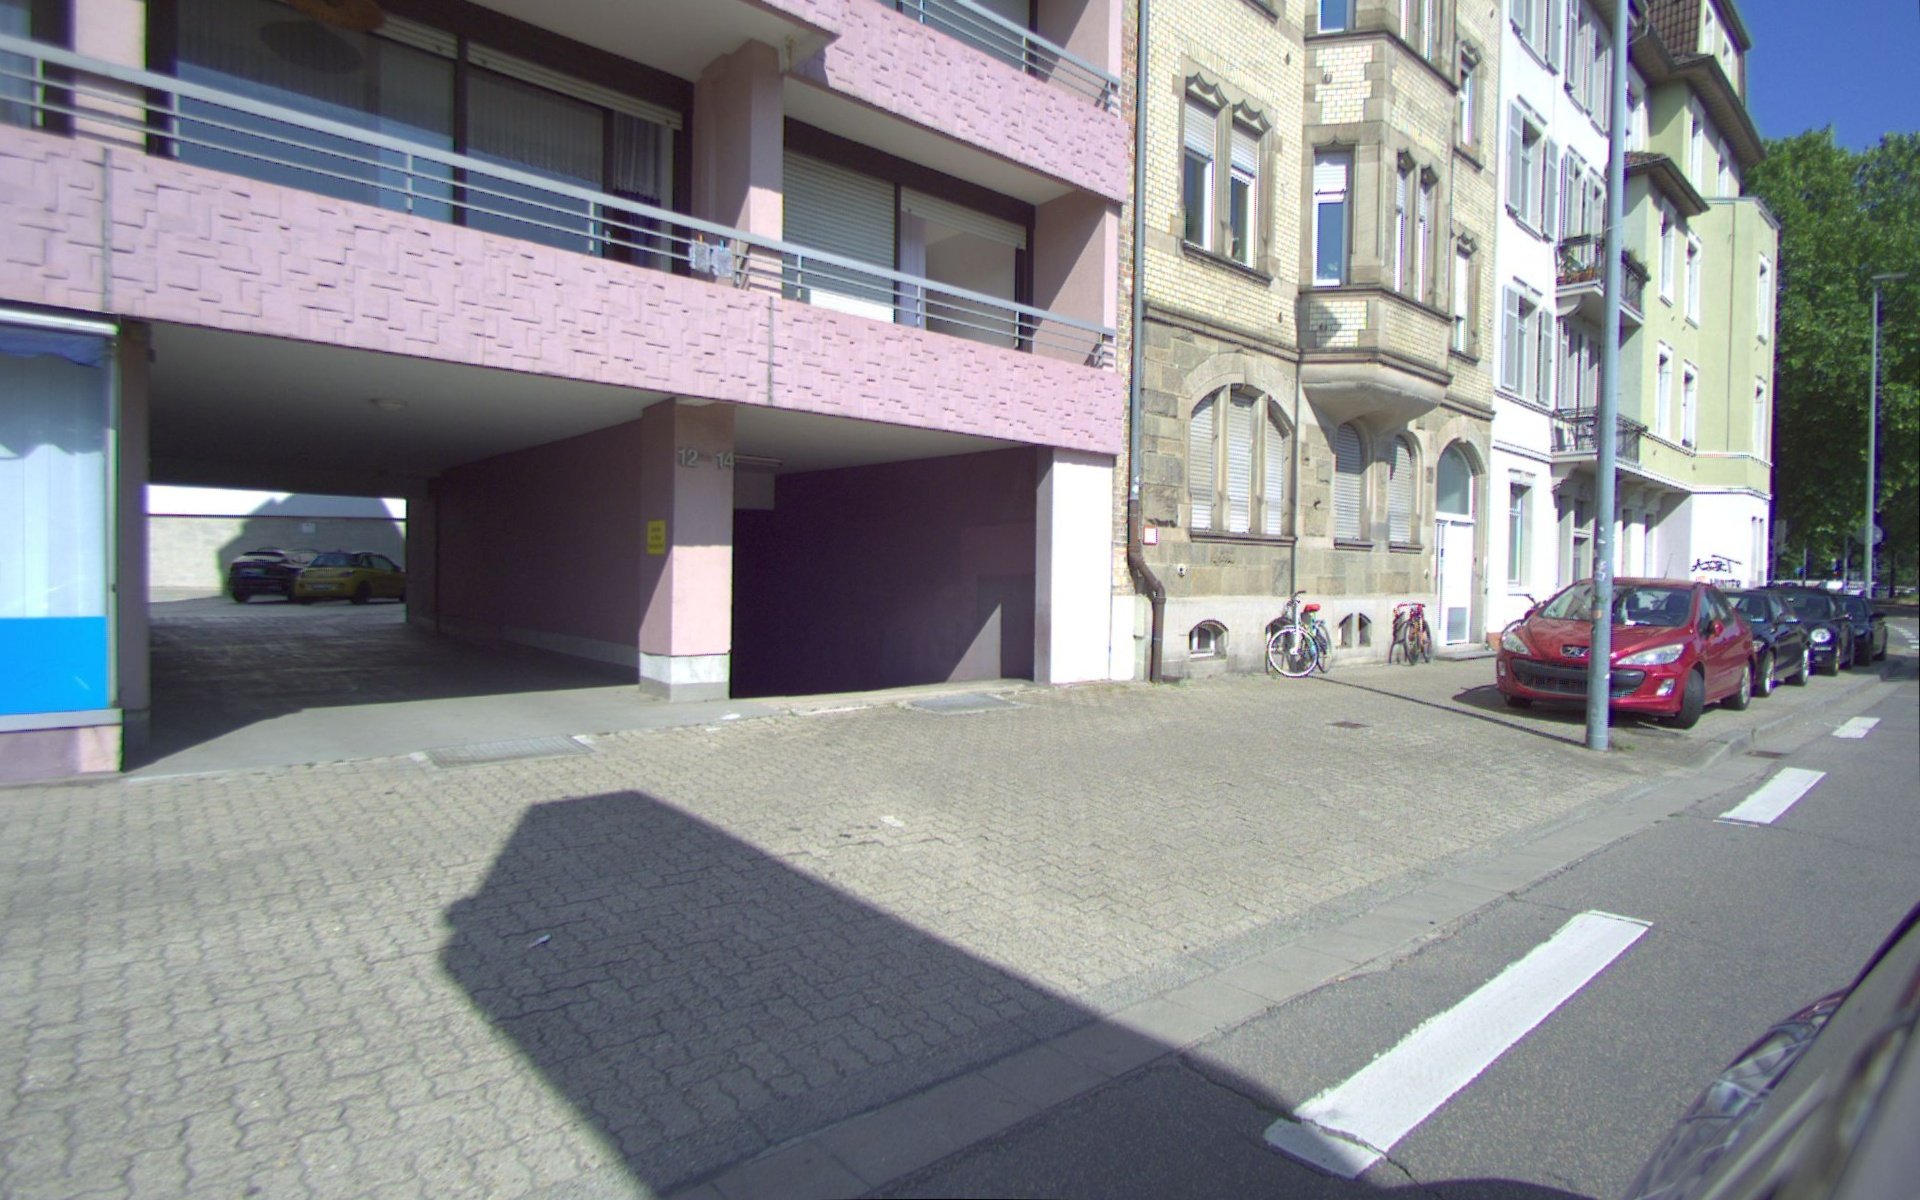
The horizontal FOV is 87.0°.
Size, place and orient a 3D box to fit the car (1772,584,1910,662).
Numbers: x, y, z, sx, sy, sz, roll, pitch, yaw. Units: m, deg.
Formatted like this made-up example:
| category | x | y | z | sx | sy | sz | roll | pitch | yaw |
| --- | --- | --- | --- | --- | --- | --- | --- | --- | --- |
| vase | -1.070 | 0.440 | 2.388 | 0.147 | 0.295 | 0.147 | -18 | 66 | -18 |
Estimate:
| category | x | y | z | sx | sy | sz | roll | pitch | yaw |
| --- | --- | --- | --- | --- | --- | --- | --- | --- | --- |
| car | 18.716 | 0.411 | 21.448 | 4.012 | 1.433 | 1.743 | -1 | 3 | -43 |

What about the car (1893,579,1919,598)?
| category | x | y | z | sx | sy | sz | roll | pitch | yaw |
| --- | --- | --- | --- | --- | --- | --- | --- | --- | --- |
| car | 99.161 | -1.167 | 105.397 | 1.983 | 1.914 | 3.959 | 2 | 2 | 29 |

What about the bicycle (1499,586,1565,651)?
| category | x | y | z | sx | sy | sz | roll | pitch | yaw |
| --- | --- | --- | --- | --- | --- | --- | --- | --- | --- |
| bicycle | 10.950 | 0.332 | 19.361 | 0.655 | 1.160 | 1.600 | 5 | 3 | 45 |

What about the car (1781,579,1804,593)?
| category | x | y | z | sx | sy | sz | roll | pitch | yaw |
| --- | --- | --- | --- | --- | --- | --- | --- | --- | --- |
| car | 110.044 | -1.868 | 133.824 | 1.620 | 1.834 | 3.556 | 2 | 2 | 29 |

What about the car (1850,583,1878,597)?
| category | x | y | z | sx | sy | sz | roll | pitch | yaw |
| --- | --- | --- | --- | --- | --- | --- | --- | --- | --- |
| car | 105.227 | -1.198 | 117.869 | 1.620 | 1.514 | 3.643 | 2 | 2 | 29 |

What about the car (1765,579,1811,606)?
| category | x | y | z | sx | sy | sz | roll | pitch | yaw |
| --- | --- | --- | --- | --- | --- | --- | --- | --- | --- |
| car | 50.453 | -0.470 | 61.721 | 1.781 | 1.531 | 3.846 | 2 | 2 | 34 |

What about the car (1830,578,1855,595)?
| category | x | y | z | sx | sy | sz | roll | pitch | yaw |
| --- | --- | --- | --- | --- | --- | --- | --- | --- | --- |
| car | 108.245 | -1.686 | 124.161 | 1.621 | 1.938 | 3.643 | 2 | 2 | 29 |

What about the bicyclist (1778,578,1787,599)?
| category | x | y | z | sx | sy | sz | roll | pitch | yaw |
| --- | --- | --- | --- | --- | --- | --- | --- | --- | --- |
| bicyclist | 66.064 | -0.946 | 81.287 | 0.539 | 1.653 | 0.581 | 3 | 2 | 41 |

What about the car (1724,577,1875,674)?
| category | x | y | z | sx | sy | sz | roll | pitch | yaw |
| --- | --- | --- | --- | --- | --- | --- | --- | --- | --- |
| car | 15.383 | 0.387 | 18.478 | 3.944 | 1.519 | 1.644 | -1 | 3 | -44 |

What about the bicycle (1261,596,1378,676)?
| category | x | y | z | sx | sy | sz | roll | pitch | yaw |
| --- | --- | --- | --- | --- | --- | --- | --- | --- | --- |
| bicycle | 4.896 | 0.454 | 13.735 | 1.831 | 0.982 | 0.651 | 0 | 2 | -41 |

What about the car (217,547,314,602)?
| category | x | y | z | sx | sy | sz | roll | pitch | yaw |
| --- | --- | --- | --- | --- | --- | --- | --- | --- | --- |
| car | -19.699 | -0.756 | 28.853 | 1.737 | 1.444 | 3.876 | 0 | 2 | -26 |

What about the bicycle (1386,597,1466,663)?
| category | x | y | z | sx | sy | sz | roll | pitch | yaw |
| --- | --- | --- | --- | --- | --- | --- | --- | --- | --- |
| bicycle | 7.427 | 0.447 | 16.102 | 1.624 | 0.982 | 0.508 | 0 | 2 | -41 |

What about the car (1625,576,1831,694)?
| category | x | y | z | sx | sy | sz | roll | pitch | yaw |
| --- | --- | --- | --- | --- | --- | --- | --- | --- | --- |
| car | 11.312 | 0.419 | 14.814 | 4.056 | 1.471 | 1.645 | 0 | 2 | -42 |

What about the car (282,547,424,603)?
| category | x | y | z | sx | sy | sz | roll | pitch | yaw |
| --- | --- | --- | --- | --- | --- | --- | --- | --- | --- |
| car | -16.939 | -0.719 | 28.457 | 1.740 | 1.444 | 3.871 | 1 | 2 | -1 |

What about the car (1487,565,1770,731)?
| category | x | y | z | sx | sy | sz | roll | pitch | yaw |
| --- | --- | --- | --- | --- | --- | --- | --- | --- | --- |
| car | 7.655 | 0.412 | 11.443 | 3.933 | 1.500 | 1.787 | -1 | 3 | -43 |
